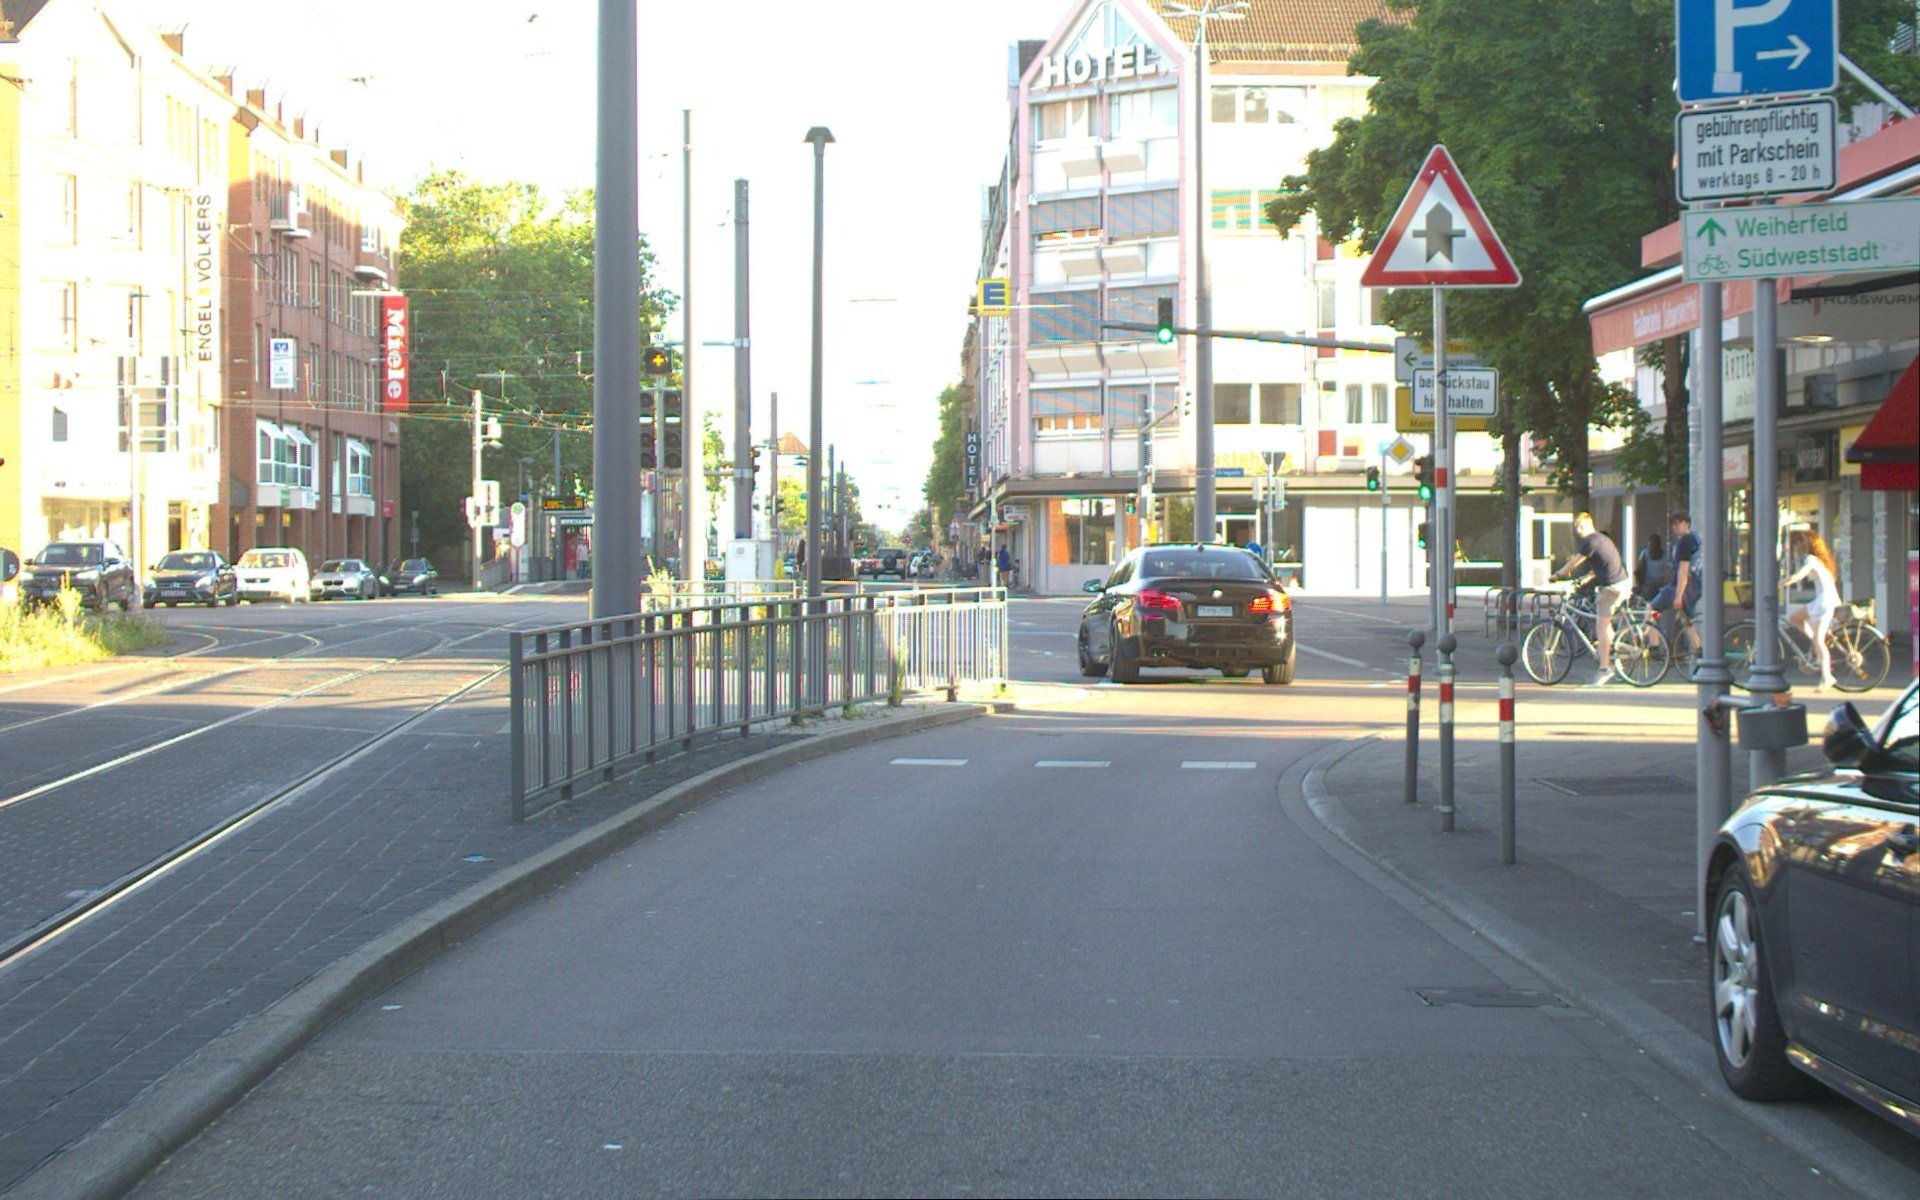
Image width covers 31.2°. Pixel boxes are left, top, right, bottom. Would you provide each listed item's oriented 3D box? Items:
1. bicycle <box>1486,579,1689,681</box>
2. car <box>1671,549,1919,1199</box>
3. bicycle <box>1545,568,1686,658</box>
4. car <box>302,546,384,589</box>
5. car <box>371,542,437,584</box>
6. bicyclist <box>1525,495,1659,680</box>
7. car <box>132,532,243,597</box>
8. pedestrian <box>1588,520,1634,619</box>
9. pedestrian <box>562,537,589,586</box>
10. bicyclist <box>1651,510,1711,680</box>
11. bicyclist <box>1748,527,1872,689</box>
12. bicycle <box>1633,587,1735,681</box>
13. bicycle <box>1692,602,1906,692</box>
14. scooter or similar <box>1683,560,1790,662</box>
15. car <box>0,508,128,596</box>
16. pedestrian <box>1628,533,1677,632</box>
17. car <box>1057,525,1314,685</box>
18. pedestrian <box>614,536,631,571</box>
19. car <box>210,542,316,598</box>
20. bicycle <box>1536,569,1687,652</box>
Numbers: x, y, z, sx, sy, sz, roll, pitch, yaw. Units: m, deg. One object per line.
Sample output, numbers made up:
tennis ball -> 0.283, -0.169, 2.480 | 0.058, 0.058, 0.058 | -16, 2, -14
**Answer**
bicycle -> 6.596, 0.301, 36.212 | 0.838, 1.016, 2.077 | -1, 1, -38
car -> 2.906, 0.649, 7.380 | 1.735, 1.507, 4.686 | -2, 1, 0
bicycle -> 9.133, 0.174, 47.925 | 1.905, 1.231, 0.668 | 0, 1, 11
car -> -21.188, -1.132, 118.191 | 1.669, 1.443, 4.201 | 0, 1, 6
car -> -21.347, -1.423, 132.124 | 1.993, 1.579, 4.480 | 0, 1, -3
bicyclist -> 6.643, -0.141, 36.147 | 0.838, 1.910, 1.115 | -1, 1, -37
car -> -19.453, -0.920, 86.753 | 1.993, 1.579, 4.588 | 0, 1, -3
pedestrian -> 10.988, -0.524, 58.046 | 0.684, 1.661, 0.671 | 0, 1, 3
pedestrian -> -15.828, -1.577, 141.548 | 0.988, 2.007, 0.726 | 2, 1, -2
bicyclist -> 7.807, -0.058, 37.212 | 0.464, 1.824, 0.559 | 0, 1, -9
bicyclist -> 8.679, 0.069, 35.093 | 1.112, 1.617, 0.839 | 0, 1, 23
bicycle -> 7.817, 0.357, 37.171 | 0.464, 0.967, 1.801 | 0, 1, -9
bicycle -> 8.573, 0.470, 35.143 | 2.008, 0.878, 0.839 | 0, 1, 23
scooter or similar -> 9.601, 0.129, 42.530 | 1.277, 1.231, 0.337 | 1, 1, 41
car -> -19.947, -1.079, 76.351 | 1.993, 1.895, 4.812 | 0, 1, -3
pedestrian -> 11.756, -0.297, 58.351 | 0.723, 1.661, 0.671 | 0, 1, 3
car -> 2.322, 0.009, 36.476 | 1.993, 1.579, 4.001 | -1, 1, -7
pedestrian -> -16.346, -2.264, 166.414 | 0.723, 1.675, 0.991 | 0, 1, 1
car -> -20.119, -0.876, 99.404 | 1.994, 1.579, 4.113 | 0, 1, 4
bicycle -> 8.904, 0.135, 46.970 | 1.997, 1.107, 0.668 | 0, 1, 12
